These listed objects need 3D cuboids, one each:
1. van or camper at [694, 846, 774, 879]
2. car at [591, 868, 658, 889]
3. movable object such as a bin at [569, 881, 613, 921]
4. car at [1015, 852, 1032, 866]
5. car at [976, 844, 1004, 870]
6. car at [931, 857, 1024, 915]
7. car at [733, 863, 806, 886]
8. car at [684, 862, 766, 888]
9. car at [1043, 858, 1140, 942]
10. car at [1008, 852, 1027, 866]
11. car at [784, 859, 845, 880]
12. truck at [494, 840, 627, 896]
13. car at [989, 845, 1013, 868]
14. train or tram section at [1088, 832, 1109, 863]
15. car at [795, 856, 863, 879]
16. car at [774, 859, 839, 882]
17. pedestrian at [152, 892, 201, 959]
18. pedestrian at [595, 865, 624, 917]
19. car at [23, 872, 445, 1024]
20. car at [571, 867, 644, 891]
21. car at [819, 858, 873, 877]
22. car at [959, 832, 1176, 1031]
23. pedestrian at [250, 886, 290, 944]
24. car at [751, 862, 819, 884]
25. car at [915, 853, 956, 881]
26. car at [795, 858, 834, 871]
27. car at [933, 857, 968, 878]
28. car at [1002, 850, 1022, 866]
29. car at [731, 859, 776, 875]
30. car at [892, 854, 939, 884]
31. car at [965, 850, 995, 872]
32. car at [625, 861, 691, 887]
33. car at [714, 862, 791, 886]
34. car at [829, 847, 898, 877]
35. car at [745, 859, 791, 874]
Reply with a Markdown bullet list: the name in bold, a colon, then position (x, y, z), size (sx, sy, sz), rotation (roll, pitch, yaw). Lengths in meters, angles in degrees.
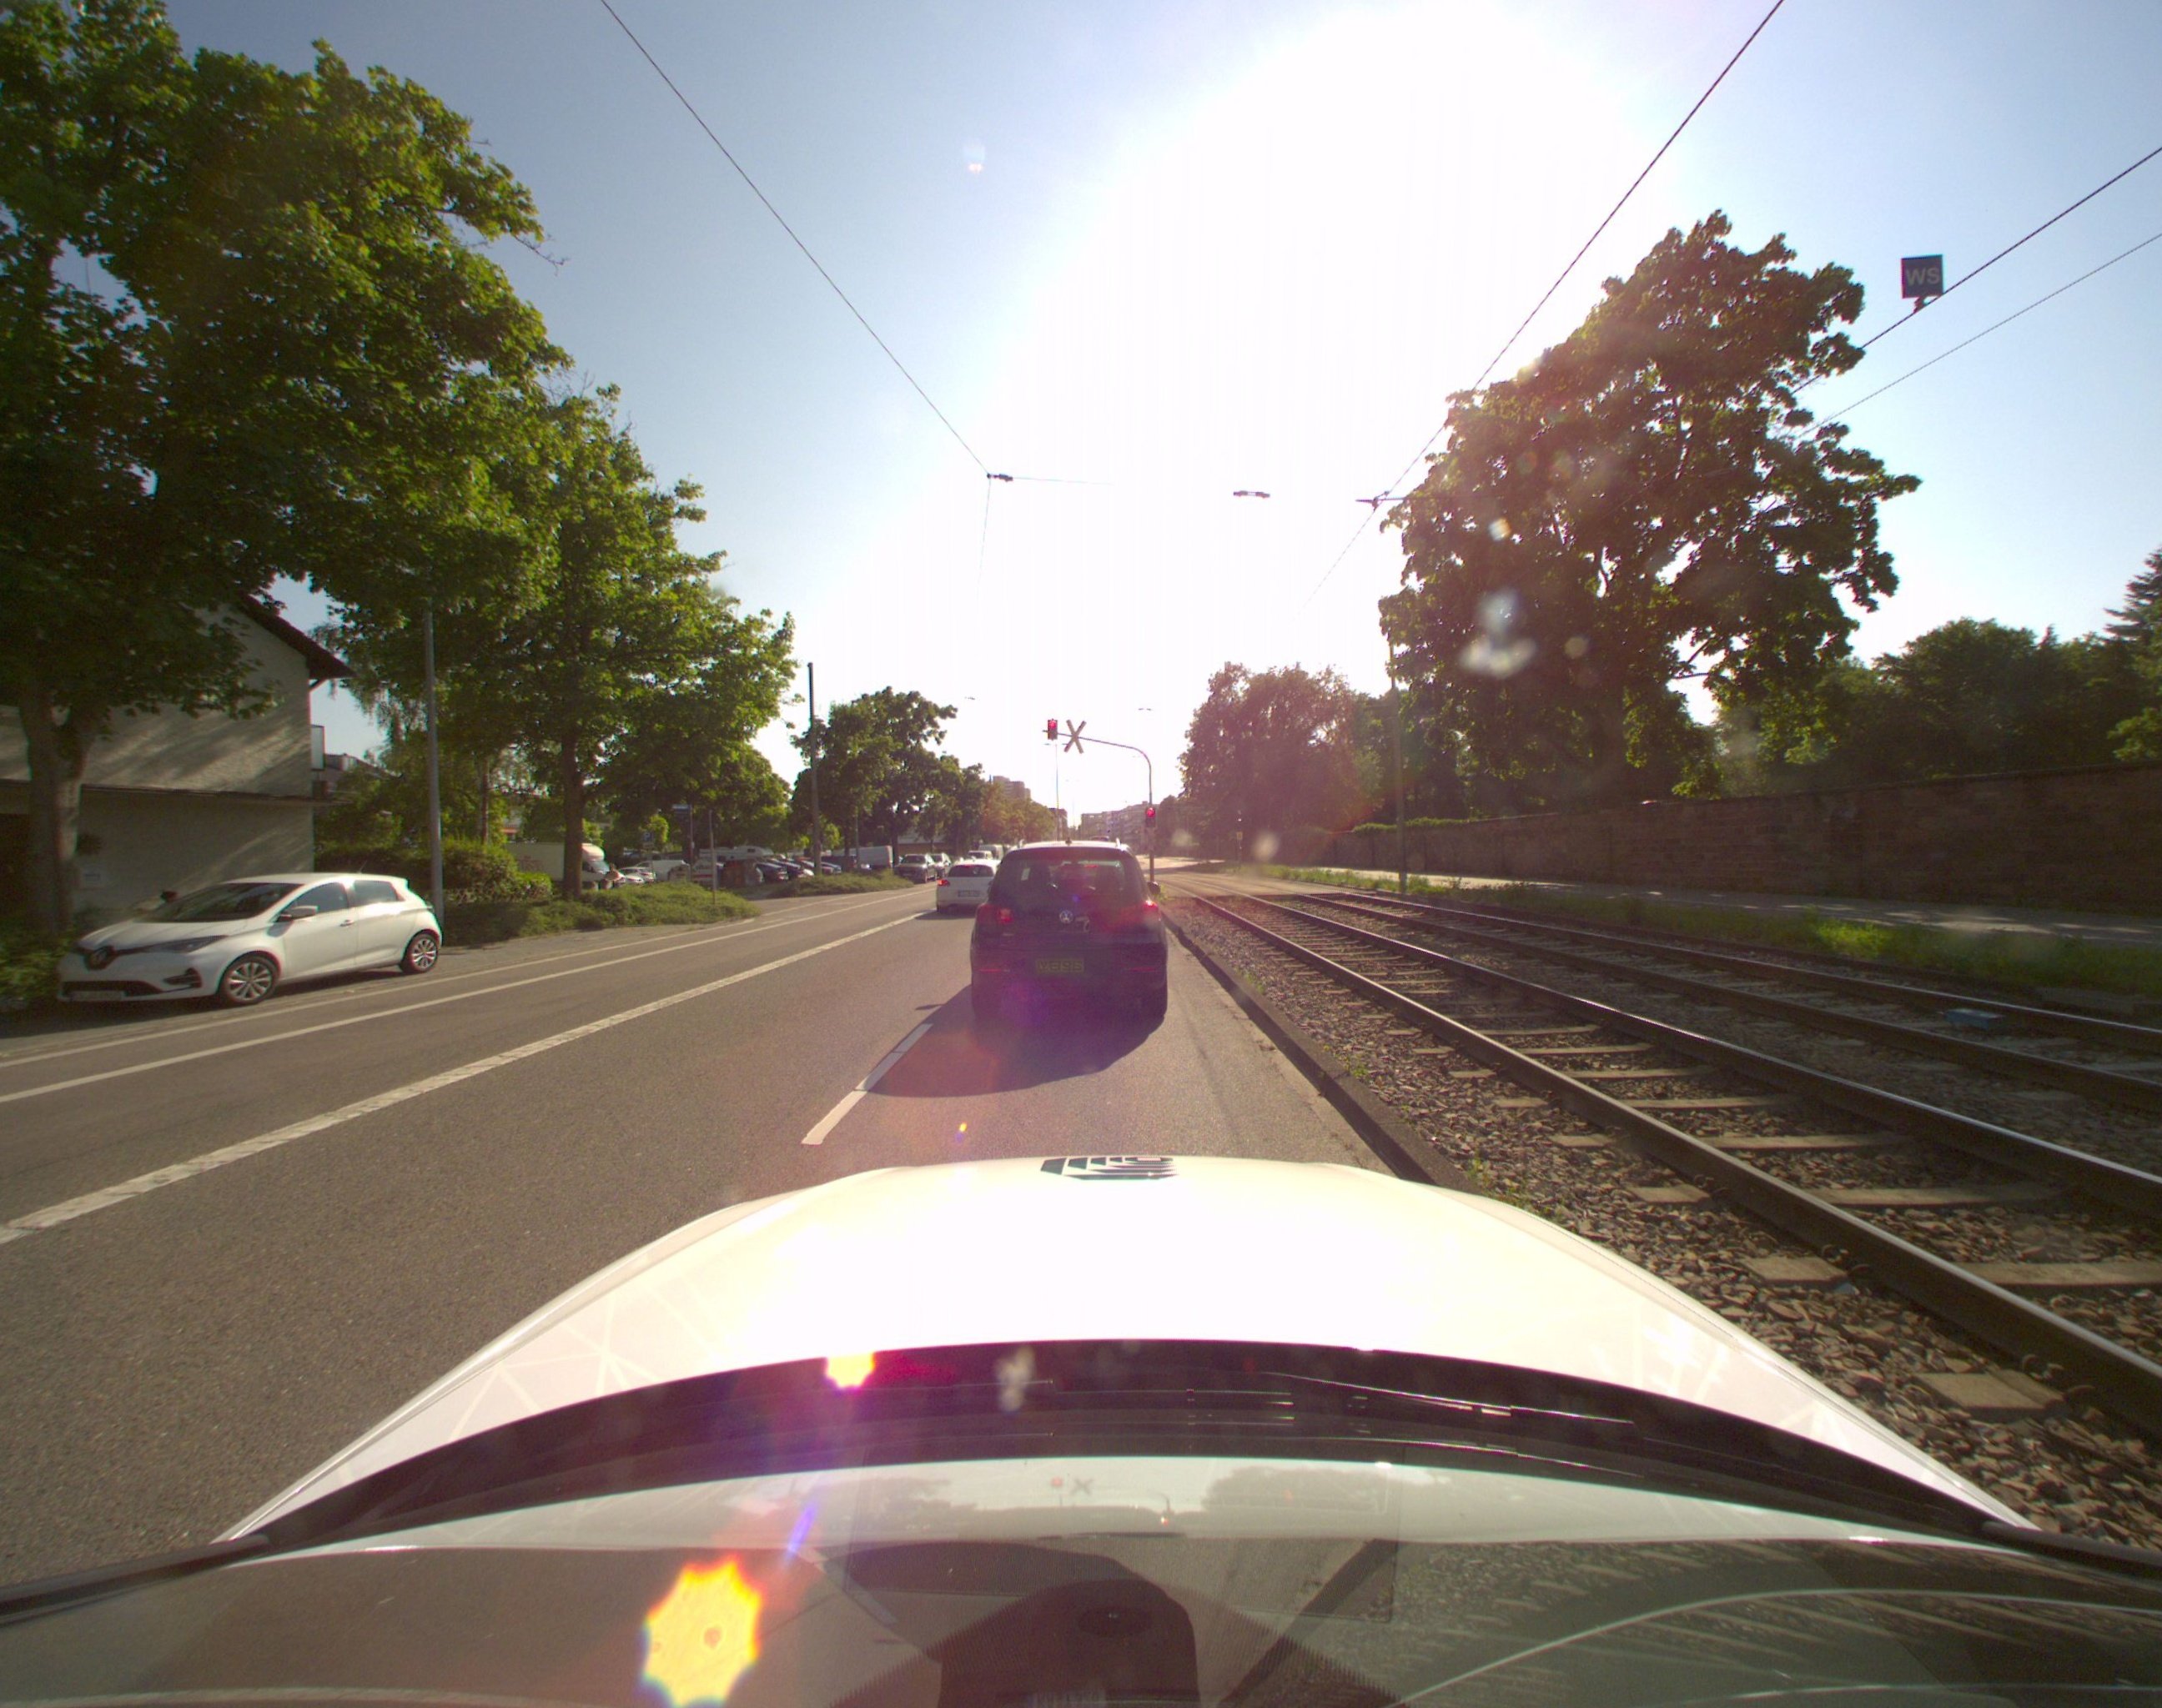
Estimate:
- **van or camper**: position (-32.463, 0.783, 76.385), size (6.439, 2.868, 2.308), rotation (-1, 0, 2)
- **car**: position (-33.102, 1.783, 59.115), size (3.966, 1.361, 1.630), rotation (-2, 0, 6)
- **movable object such as a bin**: position (-15.224, 1.444, 25.333), size (0.540, 1.146, 1.261), rotation (-2, 0, 2)
- **car**: position (-7.574, 0.601, 107.955), size (1.724, 1.694, 4.004), rotation (-2, 1, 3)
- **car**: position (-8.688, 0.301, 78.101), size (1.856, 2.347, 4.989), rotation (-2, 0, 3)
- **car**: position (-2.693, 0.803, 22.012), size (1.858, 1.348, 4.002), rotation (-1, 0, 2)
- **car**: position (-20.069, 1.283, 52.575), size (3.976, 1.307, 1.736), rotation (-2, 0, -2)
- **car**: position (-20.742, 1.226, 47.585), size (3.976, 1.307, 1.736), rotation (-2, 0, -2)
- **car**: position (0.244, 0.822, 16.366), size (1.663, 1.386, 4.002), rotation (-2, 0, 2)
- **car**: position (-7.974, 0.620, 102.639), size (1.724, 1.694, 4.004), rotation (-2, 1, 3)
- **car**: position (-19.930, 1.165, 61.048), size (3.976, 1.397, 1.736), rotation (-2, 0, -2)
- **truck**: position (-32.698, 0.852, 51.262), size (6.941, 3.242, 1.987), rotation (-2, 0, -1)
- **car**: position (-8.279, 0.231, 84.926), size (1.724, 2.268, 4.648), rotation (-2, 0, 3)
- **train or tram section**: position (2.177, -0.797, 99.531), size (2.318, 3.570, 8.904), rotation (-2, 0, 2)
- **car**: position (-19.578, 1.026, 63.432), size (4.604, 1.651, 2.049), rotation (-2, 0, -1)
- **car**: position (-19.540, 1.163, 58.083), size (3.976, 1.397, 1.736), rotation (-2, 0, -2)
- **pedestrian**: position (-16.233, 1.275, 14.622), size (0.344, 1.162, 0.447), rotation (-2, 0, 9)
- **pedestrian**: position (-15.193, 1.188, 26.266), size (0.522, 1.628, 0.610), rotation (-2, 0, 1)
- **car**: position (-10.757, 1.068, 10.834), size (1.596, 1.550, 3.892), rotation (0, 0, -2)
- **car**: position (-32.673, 1.732, 56.275), size (3.976, 1.457, 1.736), rotation (-2, 0, -2)
- **car**: position (-19.569, 1.138, 67.965), size (3.976, 1.397, 1.736), rotation (-2, 0, -2)
- **car**: position (-0.051, 0.655, 8.825), size (1.804, 1.645, 4.002), rotation (-1, 0, 2)
- **pedestrian**: position (-17.579, 1.327, 17.659), size (0.442, 1.217, 0.392), rotation (-2, 0, 9)
- **car**: position (-20.271, 1.279, 55.870), size (3.976, 1.307, 1.736), rotation (-2, 0, -2)
- **car**: position (-9.572, 0.814, 53.914), size (1.724, 1.694, 4.004), rotation (-2, 1, 3)
- **car**: position (-31.586, 1.204, 96.636), size (3.976, 1.397, 1.736), rotation (-2, 0, -2)
- **car**: position (-9.570, 0.939, 60.018), size (1.724, 1.389, 3.738), rotation (-2, 1, 3)
- **car**: position (-8.148, 0.477, 96.576), size (1.724, 1.694, 4.004), rotation (-2, 1, 3)
- **car**: position (-31.954, 1.230, 79.545), size (3.653, 1.397, 1.736), rotation (-2, 0, -2)
- **car**: position (-9.765, 0.852, 48.428), size (1.724, 1.657, 4.003), rotation (-2, 0, 3)
- **car**: position (-8.812, 0.592, 71.425), size (1.724, 1.860, 4.493), rotation (-2, 0, 3)
- **car**: position (-31.829, 1.481, 61.359), size (3.981, 1.728, 1.623), rotation (-2, 0, -6)
- **car**: position (-20.140, 1.216, 49.987), size (3.976, 1.307, 1.736), rotation (-2, 0, -2)
- **car**: position (-19.062, 0.705, 71.418), size (5.356, 2.423, 2.088), rotation (-2, 0, 1)
- **car**: position (-32.535, 1.246, 84.731), size (3.976, 1.397, 1.736), rotation (-2, 0, -2)
